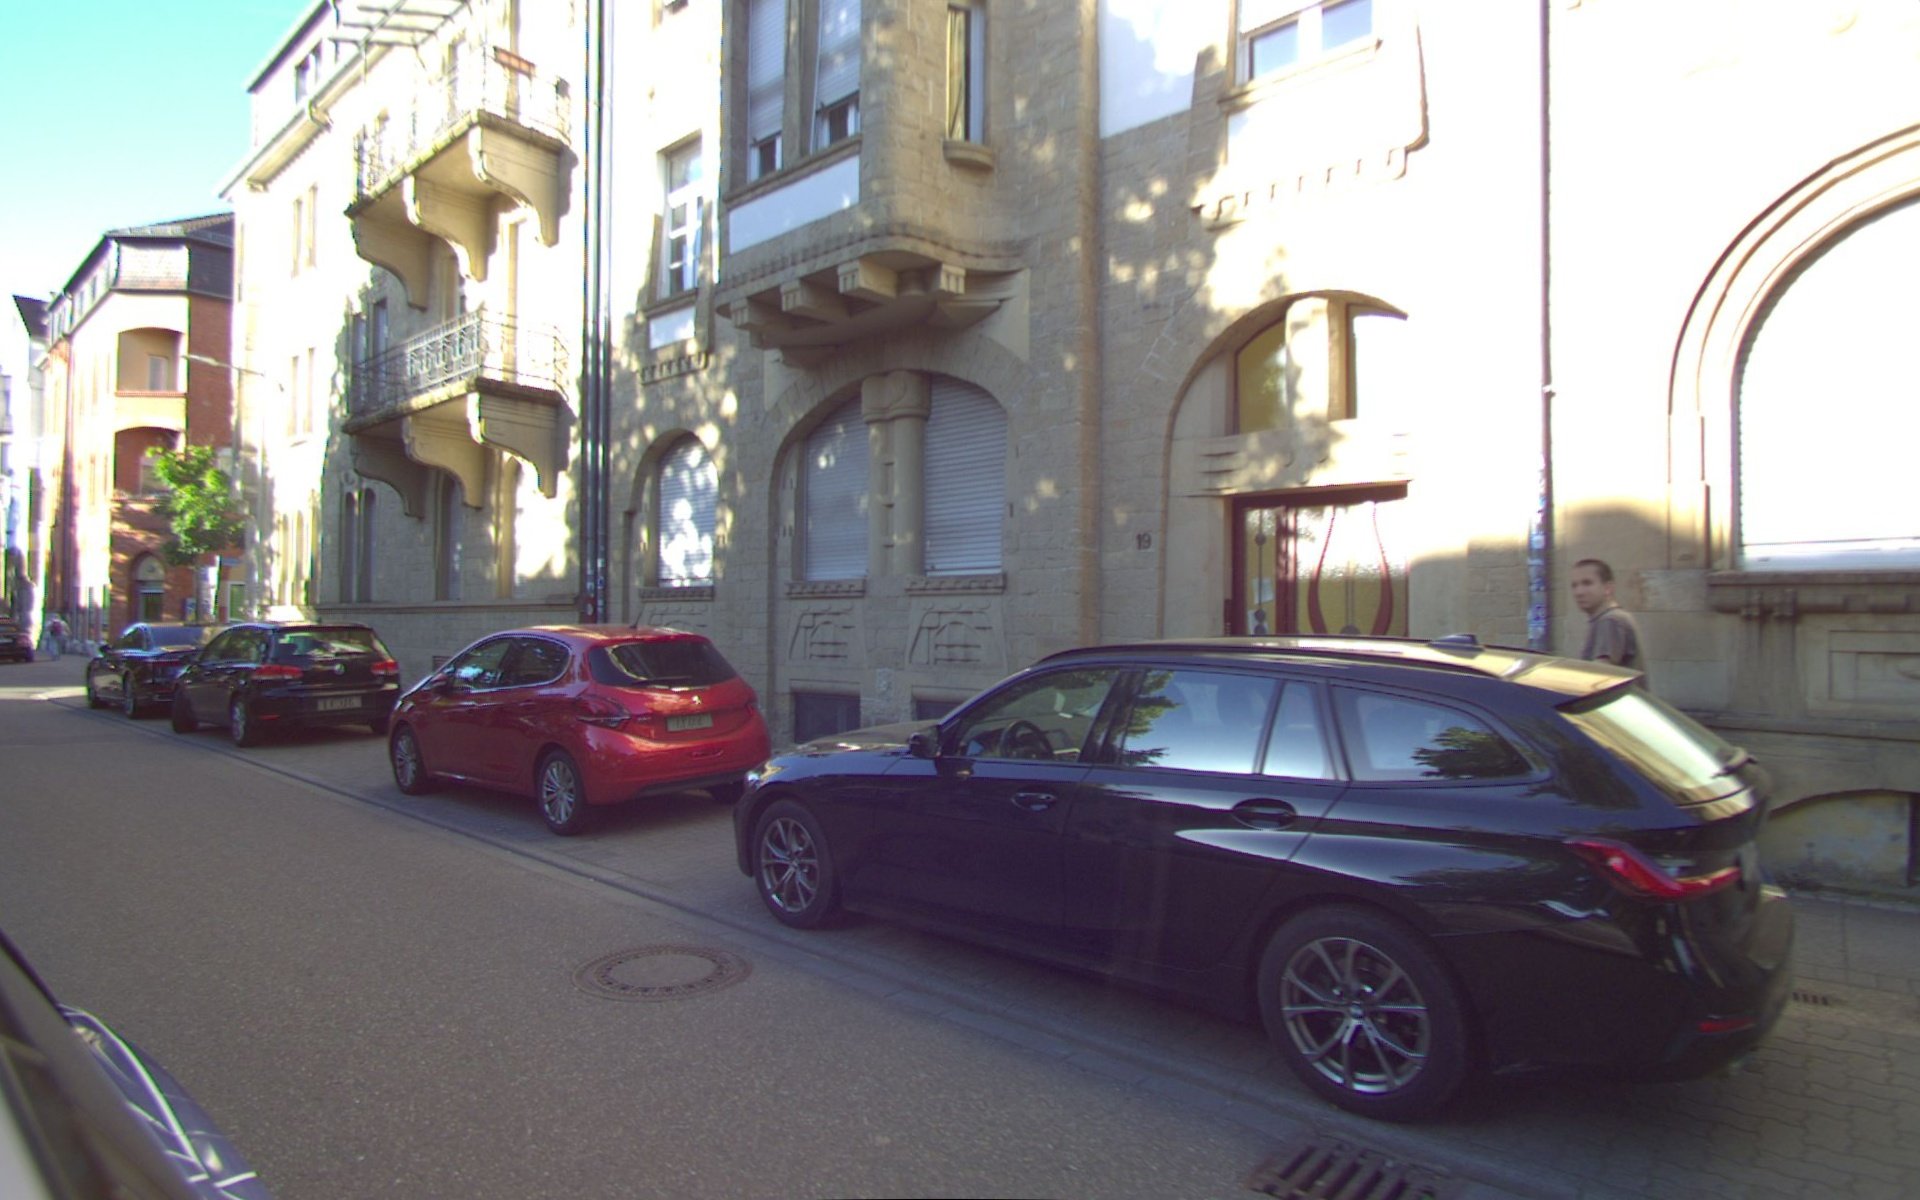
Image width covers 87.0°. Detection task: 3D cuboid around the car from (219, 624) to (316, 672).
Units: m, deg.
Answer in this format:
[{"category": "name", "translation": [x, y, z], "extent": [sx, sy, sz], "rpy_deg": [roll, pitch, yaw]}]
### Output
[{"category": "car", "translation": [-23.586, 1.577, 34.411], "extent": [4.655, 1.480, 1.618], "rpy_deg": [-1, -1, 41]}]

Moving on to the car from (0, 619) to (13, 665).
[{"category": "car", "translation": [-37.399, 1.570, 38.348], "extent": [4.345, 1.693, 1.653], "rpy_deg": [-1, -1, 39]}]

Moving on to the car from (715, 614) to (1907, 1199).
[{"category": "car", "translation": [0.969, 0.836, 4.431], "extent": [4.548, 1.441, 1.658], "rpy_deg": [-2, -1, 42]}]

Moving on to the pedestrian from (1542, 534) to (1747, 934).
[{"category": "pedestrian", "translation": [3.424, 0.590, 5.046], "extent": [0.734, 1.755, 0.928], "rpy_deg": [0, -1, 41]}]

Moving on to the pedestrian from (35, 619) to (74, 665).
[{"category": "pedestrian", "translation": [-32.122, 1.467, 35.891], "extent": [1.053, 1.589, 0.879], "rpy_deg": [1, 0, 41]}]

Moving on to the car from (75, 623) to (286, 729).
[{"category": "car", "translation": [-12.987, 1.137, 16.739], "extent": [4.895, 1.437, 1.793], "rpy_deg": [-1, 1, 41]}]

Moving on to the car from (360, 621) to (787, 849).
[{"category": "car", "translation": [-3.342, 0.931, 8.429], "extent": [3.833, 1.464, 1.613], "rpy_deg": [-2, -1, 39]}]

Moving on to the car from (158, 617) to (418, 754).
[{"category": "car", "translation": [-8.728, 0.974, 13.020], "extent": [4.024, 1.464, 1.679], "rpy_deg": [0, -2, 40]}]

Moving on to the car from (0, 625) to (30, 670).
[{"category": "car", "translation": [-32.969, 1.596, 34.333], "extent": [4.331, 1.421, 1.619], "rpy_deg": [-1, 0, 41]}]
